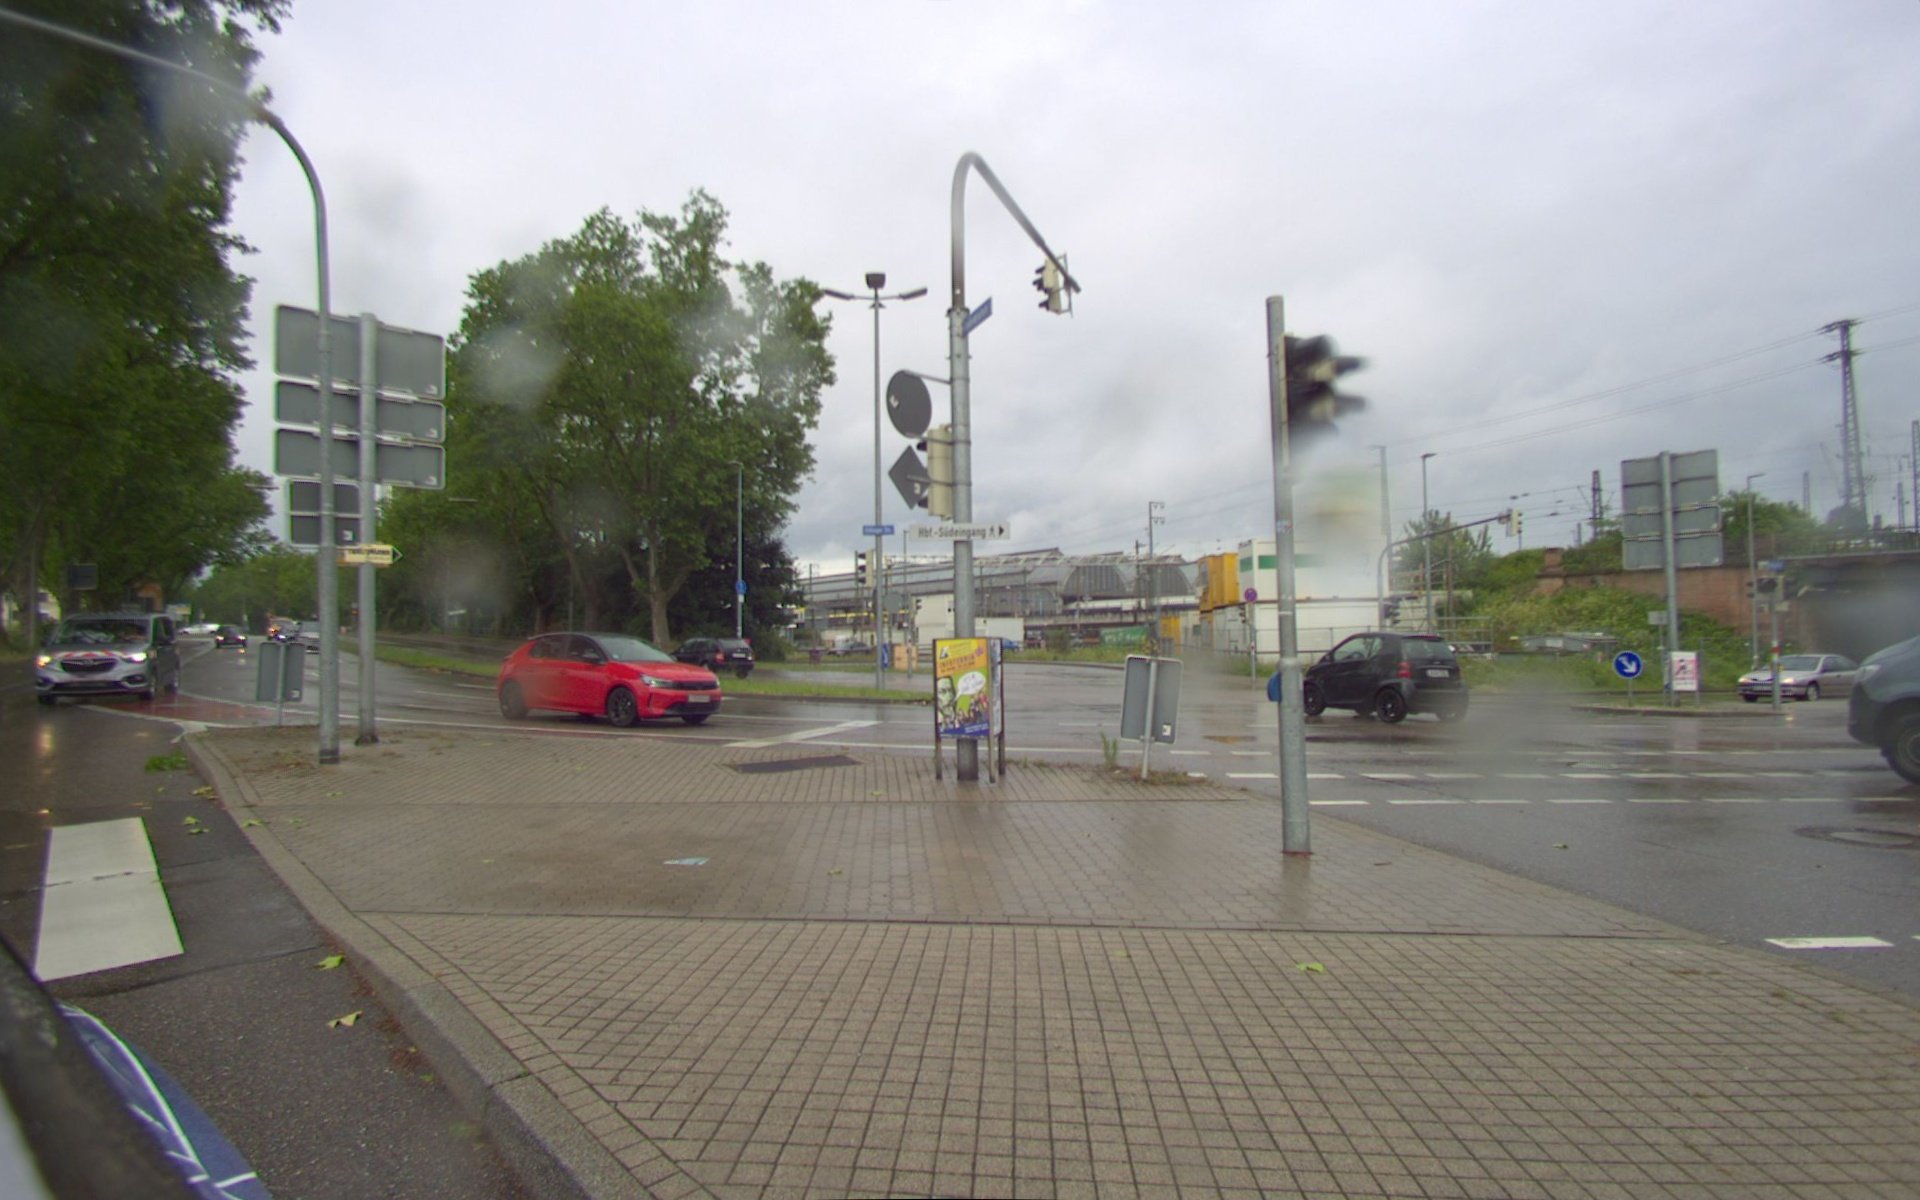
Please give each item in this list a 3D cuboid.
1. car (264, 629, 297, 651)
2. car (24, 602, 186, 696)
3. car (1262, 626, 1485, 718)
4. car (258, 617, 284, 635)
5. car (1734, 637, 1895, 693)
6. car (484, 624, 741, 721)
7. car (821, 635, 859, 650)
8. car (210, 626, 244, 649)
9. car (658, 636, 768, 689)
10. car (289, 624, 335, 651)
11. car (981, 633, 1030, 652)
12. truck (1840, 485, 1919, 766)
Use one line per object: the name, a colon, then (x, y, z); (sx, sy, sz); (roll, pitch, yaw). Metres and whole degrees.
car: (-44.563, 2.614, 66.334); (1.618, 1.364, 3.783); (1, -2, -37)
car: (-17.408, 0.960, 20.825); (1.808, 1.737, 4.185); (1, -2, -30)
car: (7.274, 1.284, 18.166); (1.621, 1.463, 3.542); (0, -4, -23)
car: (-62.569, 2.373, 91.902); (1.824, 1.614, 4.511); (2, -3, -36)
car: (24.516, 1.826, 29.030); (4.353, 1.497, 1.738); (1, -2, -23)
car: (-5.615, 1.119, 16.292); (3.983, 1.392, 1.727); (-1, -3, 30)
car: (-13.758, 4.875, 116.077); (3.934, 1.621, 1.791); (0, -2, -37)
car: (-47.944, 2.465, 66.266); (1.716, 1.457, 4.009); (2, -3, -36)
car: (-8.549, 2.094, 34.809); (1.970, 1.654, 4.004); (1, -2, -43)
car: (-34.275, 1.996, 53.485); (1.716, 1.392, 4.008); (2, -3, -37)
car: (3.956, 3.663, 87.819); (3.933, 1.621, 1.791); (0, -2, -35)
truck: (10.628, 0.161, 6.970); (2.057, 2.639, 6.994); (0, -2, -12)
